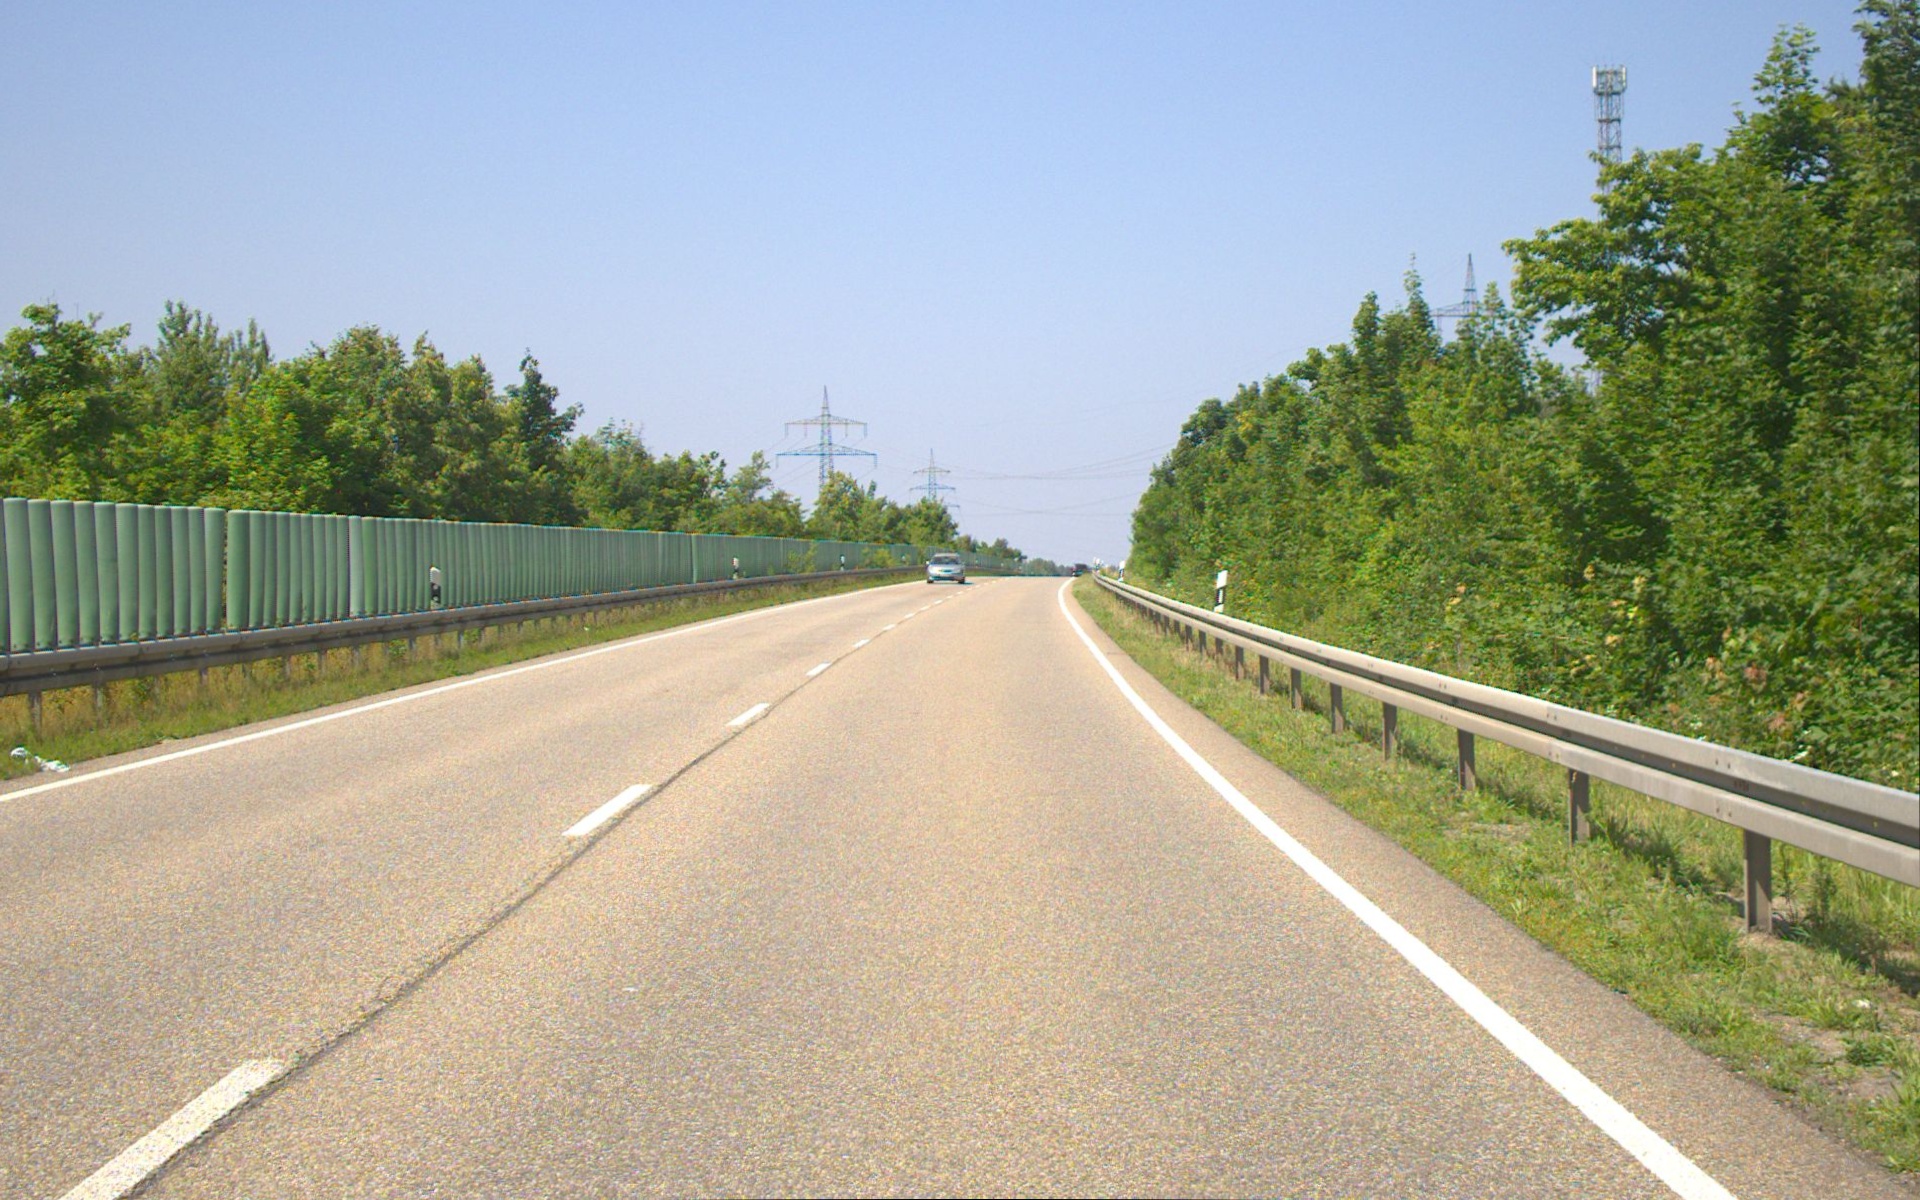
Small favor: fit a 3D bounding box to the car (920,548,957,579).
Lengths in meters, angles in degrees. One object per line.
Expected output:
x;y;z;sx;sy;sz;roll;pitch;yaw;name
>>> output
-1.031;-1.782;167.841;1.720;1.496;4.248;1;1;1;car
